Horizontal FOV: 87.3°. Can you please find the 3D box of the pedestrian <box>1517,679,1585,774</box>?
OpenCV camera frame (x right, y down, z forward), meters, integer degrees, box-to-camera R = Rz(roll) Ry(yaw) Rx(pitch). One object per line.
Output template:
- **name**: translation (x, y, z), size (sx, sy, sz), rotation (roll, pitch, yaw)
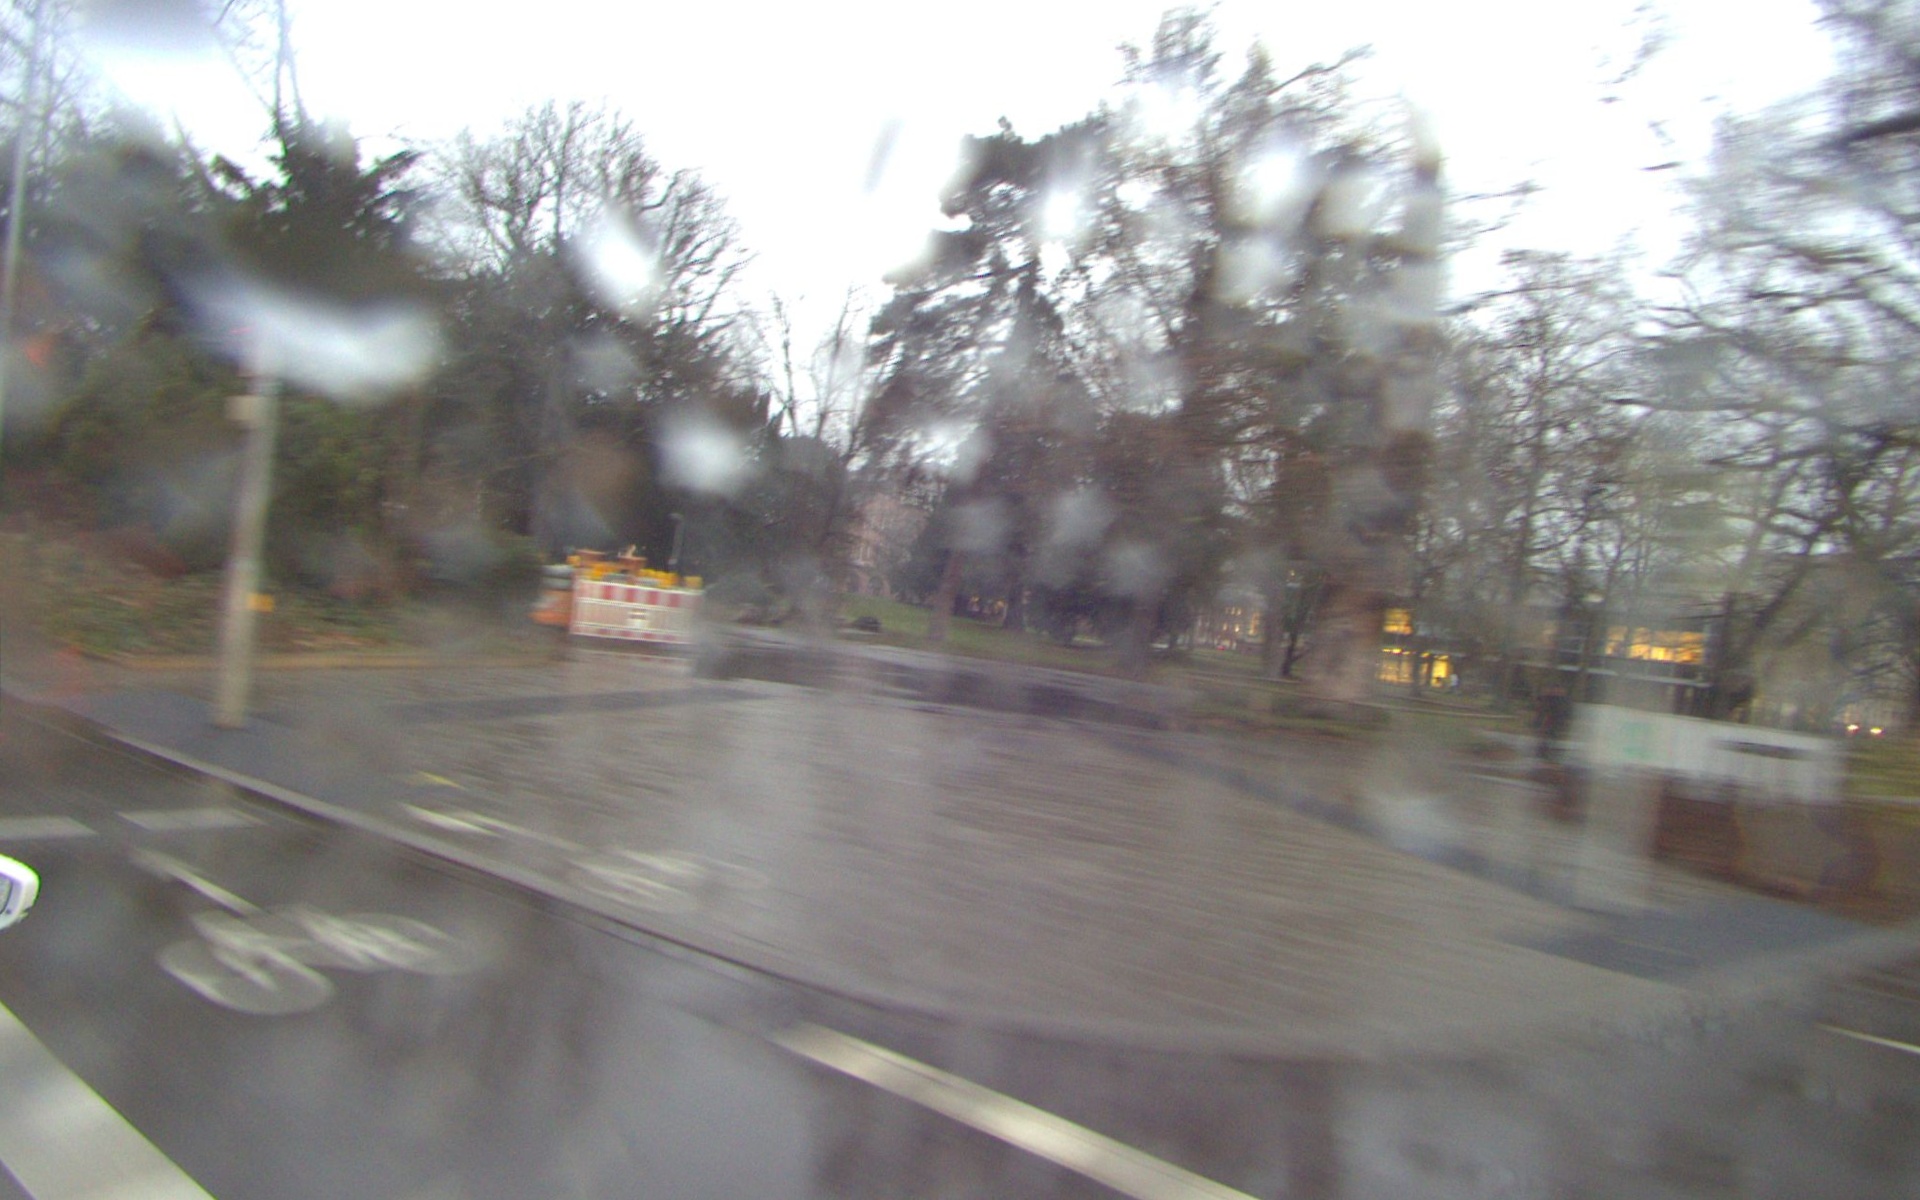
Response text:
- **pedestrian**: translation (11.231, 2.397, 19.128), size (0.839, 1.660, 0.723), rotation (7, -1, 40)
